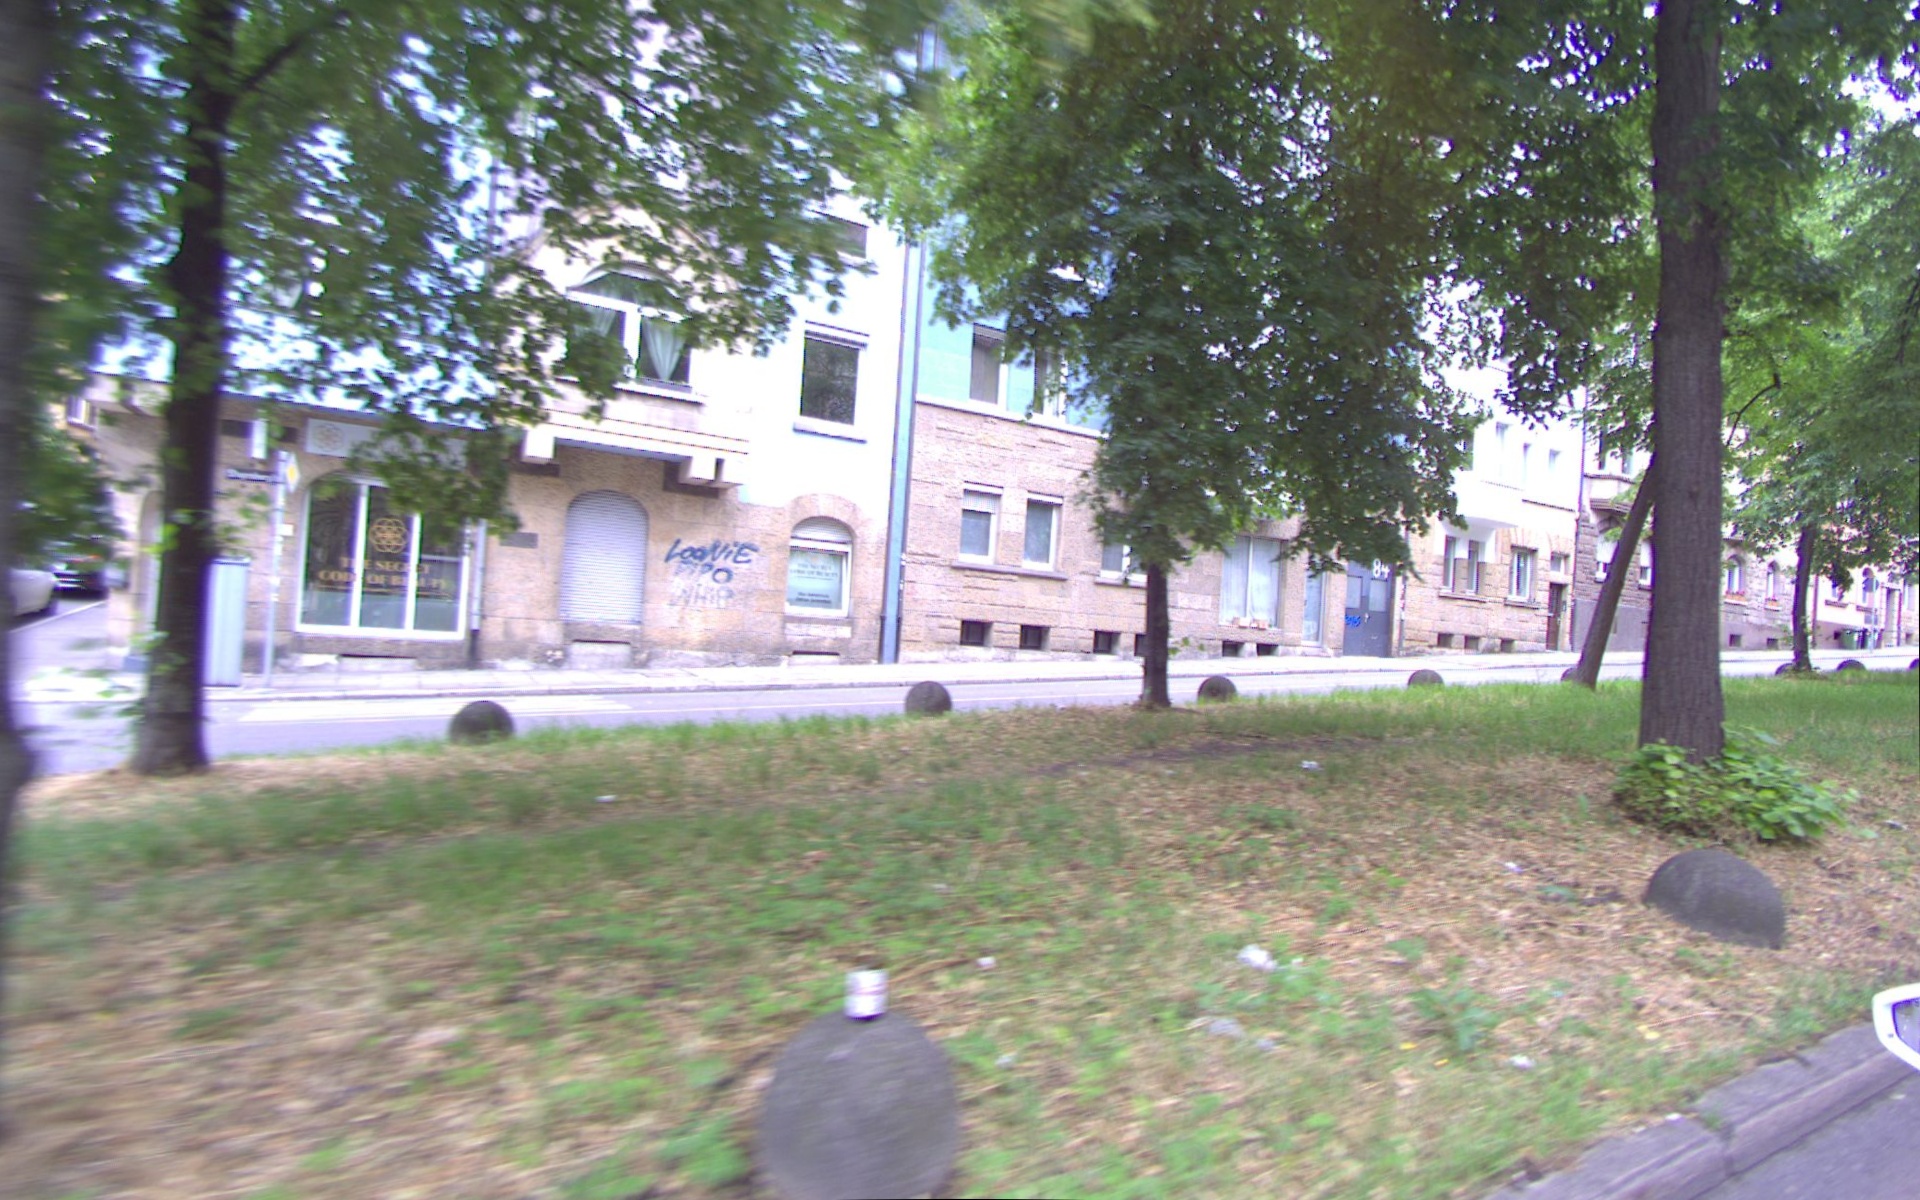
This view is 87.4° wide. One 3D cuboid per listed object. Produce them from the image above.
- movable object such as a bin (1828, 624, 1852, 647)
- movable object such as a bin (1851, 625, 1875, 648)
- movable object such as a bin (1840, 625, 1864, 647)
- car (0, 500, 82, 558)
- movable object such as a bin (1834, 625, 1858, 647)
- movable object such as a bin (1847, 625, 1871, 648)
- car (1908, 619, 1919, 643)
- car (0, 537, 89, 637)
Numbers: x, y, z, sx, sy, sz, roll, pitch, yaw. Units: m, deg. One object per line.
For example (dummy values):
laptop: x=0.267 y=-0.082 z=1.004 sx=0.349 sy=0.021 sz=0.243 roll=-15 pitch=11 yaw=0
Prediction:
movable object such as a bin: x=36.645 y=1.487 z=41.832 sx=0.595 sy=0.916 sz=0.605 roll=2 pitch=1 yaw=-34
movable object such as a bin: x=38.951 y=1.573 z=43.311 sx=0.595 sy=0.916 sz=0.605 roll=2 pitch=1 yaw=-34
movable object such as a bin: x=37.756 y=1.530 z=42.526 sx=0.595 sy=0.916 sz=0.605 roll=2 pitch=1 yaw=-34
car: x=-28.741 y=-2.211 z=30.646 sx=1.776 sy=1.530 sz=3.975 roll=4 pitch=3 yaw=-24
movable object such as a bin: x=37.179 y=1.507 z=42.163 sx=0.595 sy=0.916 sz=0.605 roll=2 pitch=1 yaw=-34
movable object such as a bin: x=38.399 y=1.555 z=42.921 sx=0.595 sy=0.916 sz=0.605 roll=2 pitch=1 yaw=-34
car: x=69.683 y=2.255 z=70.947 sx=1.845 sy=1.687 sz=4.002 roll=3 pitch=-1 yaw=4
car: x=-18.164 y=-0.333 z=18.790 sx=1.943 sy=1.489 sz=4.121 roll=3 pitch=4 yaw=-29
